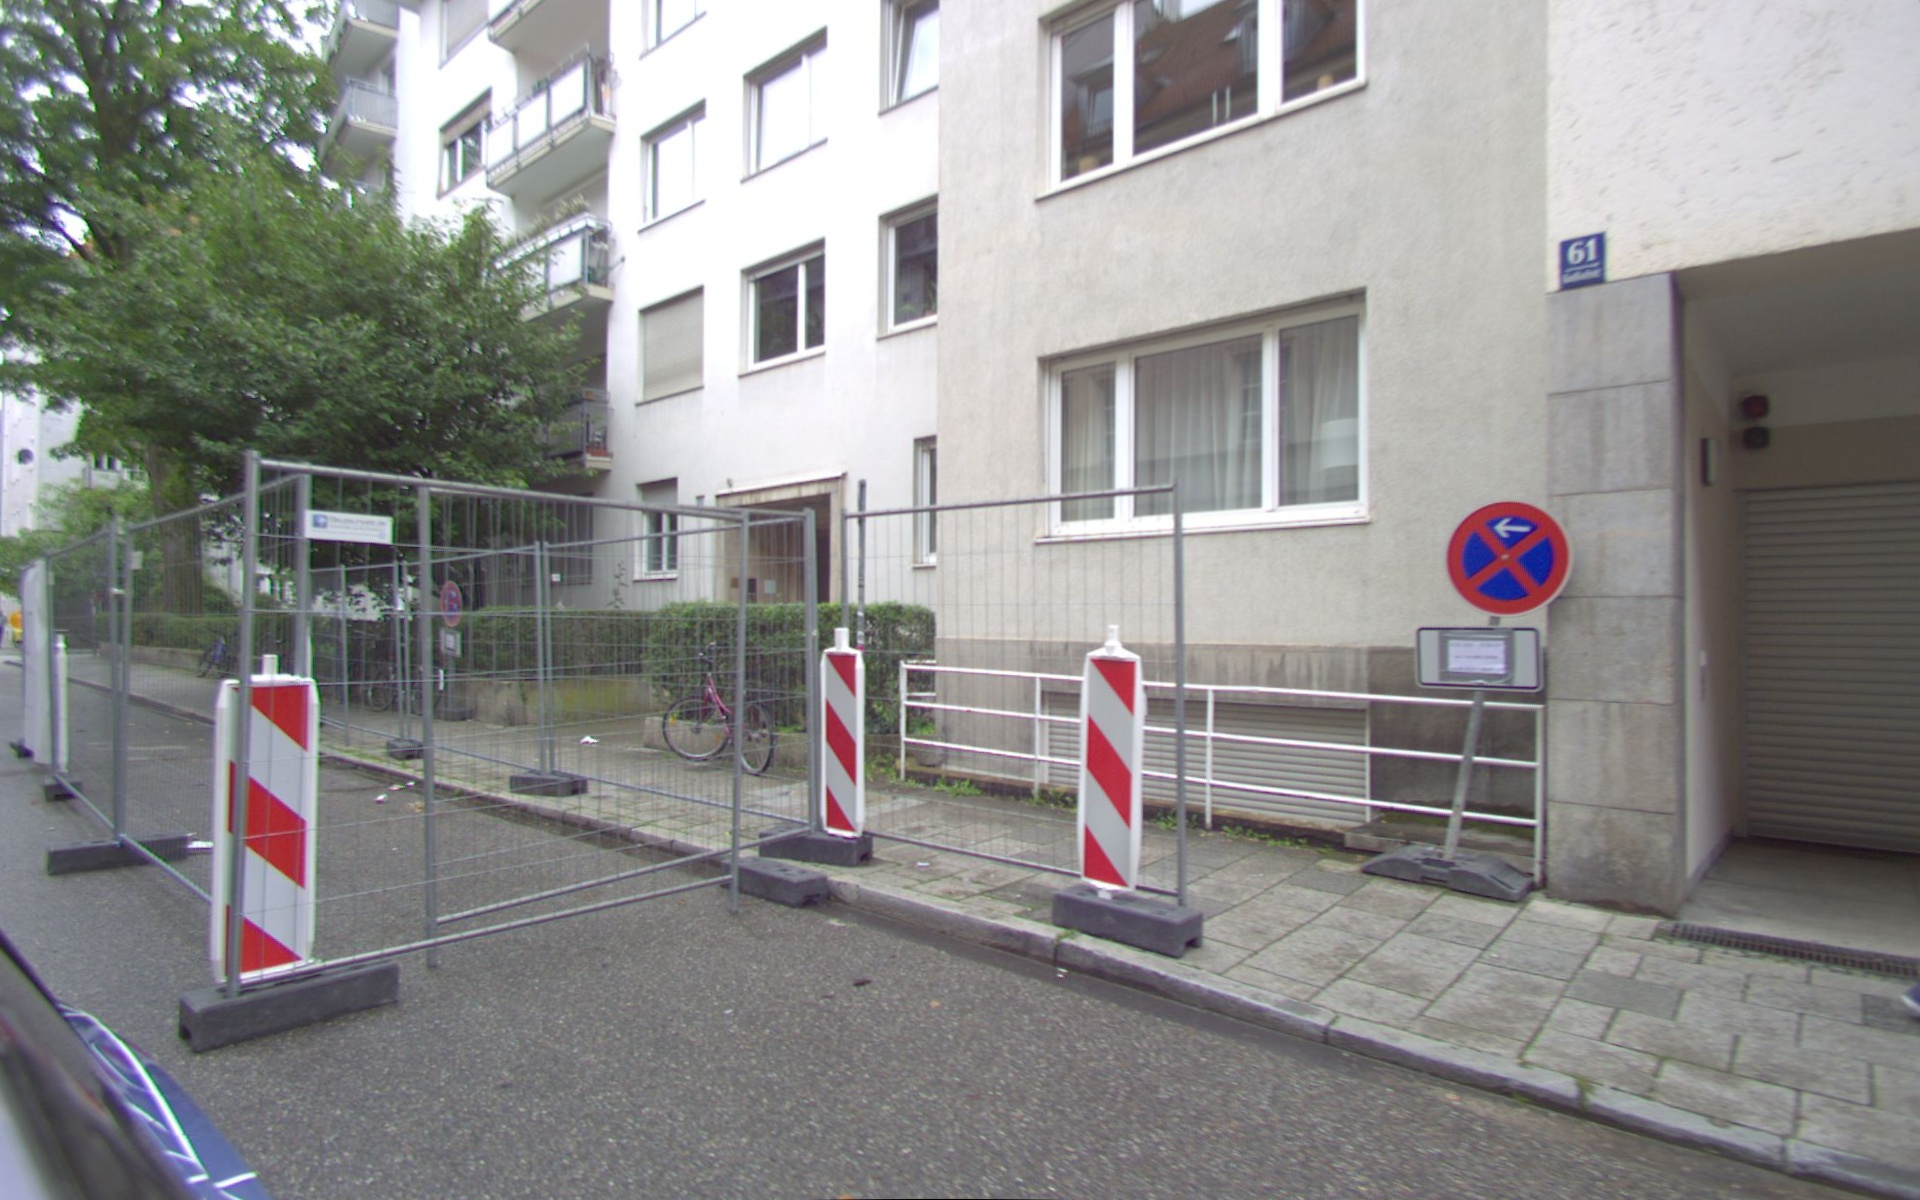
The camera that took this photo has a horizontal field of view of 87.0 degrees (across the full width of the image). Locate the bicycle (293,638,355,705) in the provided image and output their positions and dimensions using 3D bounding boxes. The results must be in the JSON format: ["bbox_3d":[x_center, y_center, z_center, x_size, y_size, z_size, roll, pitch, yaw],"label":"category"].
[{"bbox_3d":[-10.504,1.148,16.702,1.699,0.986,0.431,0,2,43],"label":"bicycle"}]

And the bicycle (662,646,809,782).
[{"bbox_3d":[-2.049,0.982,9.109,1.597,1.071,0.373,-1,4,43],"label":"bicycle"}]

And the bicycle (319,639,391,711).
[{"bbox_3d":[-9.360,1.132,15.640,1.854,0.986,0.439,0,2,43],"label":"bicycle"}]

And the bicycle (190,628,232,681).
[{"bbox_3d":[-16.337,1.166,22.064,1.780,1.080,0.343,-1,1,42],"label":"bicycle"}]

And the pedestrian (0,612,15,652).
[{"bbox_3d":[-42.420,1.405,44.798,0.841,1.741,0.686,-1,2,42],"label":"pedestrian"}]

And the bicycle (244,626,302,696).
[{"bbox_3d":[-12.412,1.069,18.269,1.699,1.160,0.483,0,2,43],"label":"bicycle"}]

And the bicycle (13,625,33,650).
[{"bbox_3d":[-41.551,1.650,44.878,1.702,1.103,0.426,-1,0,40],"label":"bicycle"}]

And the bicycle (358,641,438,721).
[{"bbox_3d":[-7.994,1.117,14.370,1.816,0.986,0.439,0,2,43],"label":"bicycle"}]

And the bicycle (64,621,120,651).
[{"bbox_3d":[-37.416,1.542,43.646,0.432,1.270,1.788,-1,-2,40],"label":"bicycle"}]
